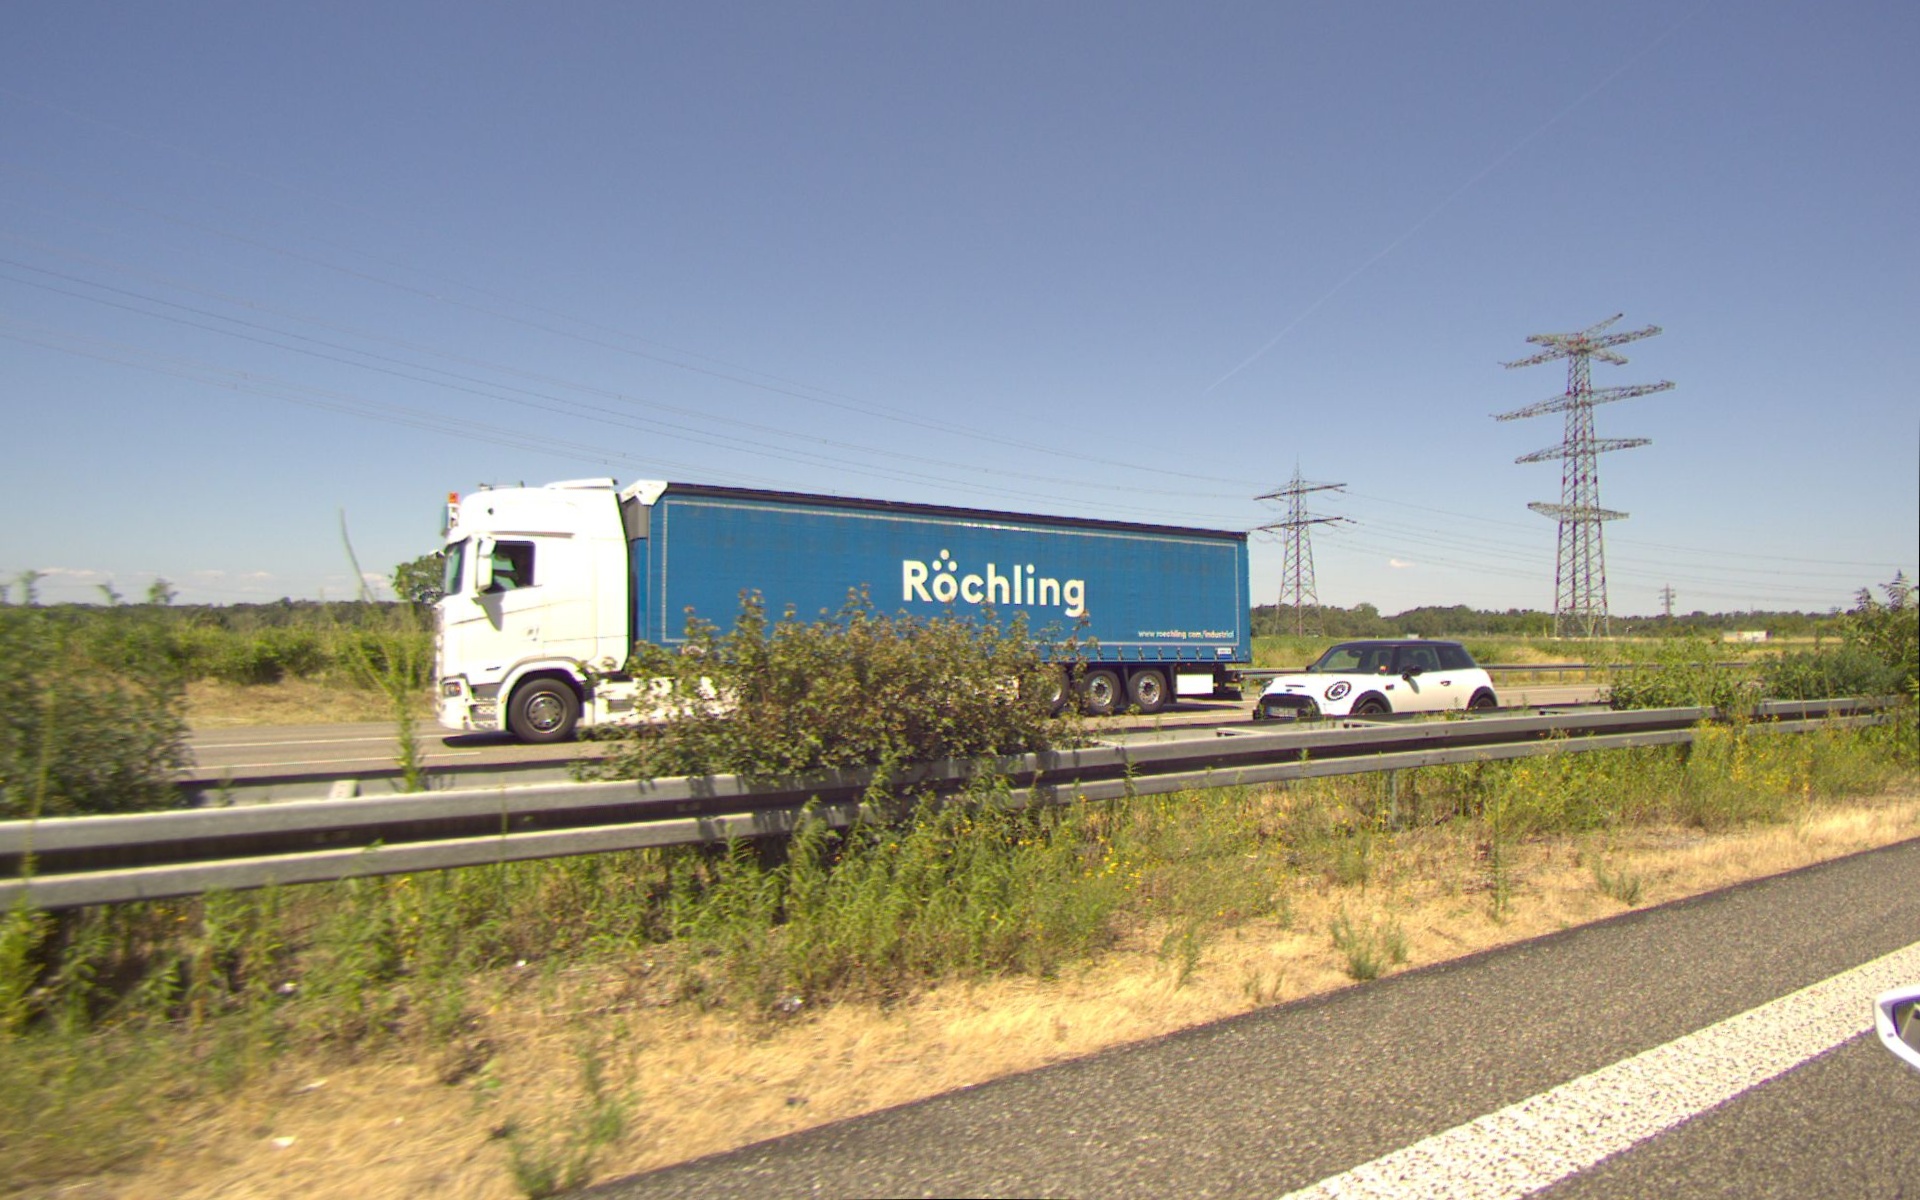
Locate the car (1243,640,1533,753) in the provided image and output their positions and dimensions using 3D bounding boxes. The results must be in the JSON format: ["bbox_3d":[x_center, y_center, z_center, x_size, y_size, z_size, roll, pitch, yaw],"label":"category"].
[{"bbox_3d":[6.220,1.288,14.480,4.279,1.417,1.624,1,-2,-30],"label":"car"}]

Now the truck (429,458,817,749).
[{"bbox_3d":[-5.588,0.137,16.857,5.734,4.122,2.683,1,-2,-31],"label":"truck"}]

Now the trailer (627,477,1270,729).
[{"bbox_3d":[0.524,0.214,20.627,13.747,3.989,2.680,1,-2,-31],"label":"trailer"}]

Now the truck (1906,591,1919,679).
[{"bbox_3d":[51.070,1.759,50.080,10.444,4.231,2.860,1,-2,-30],"label":"truck"}]
